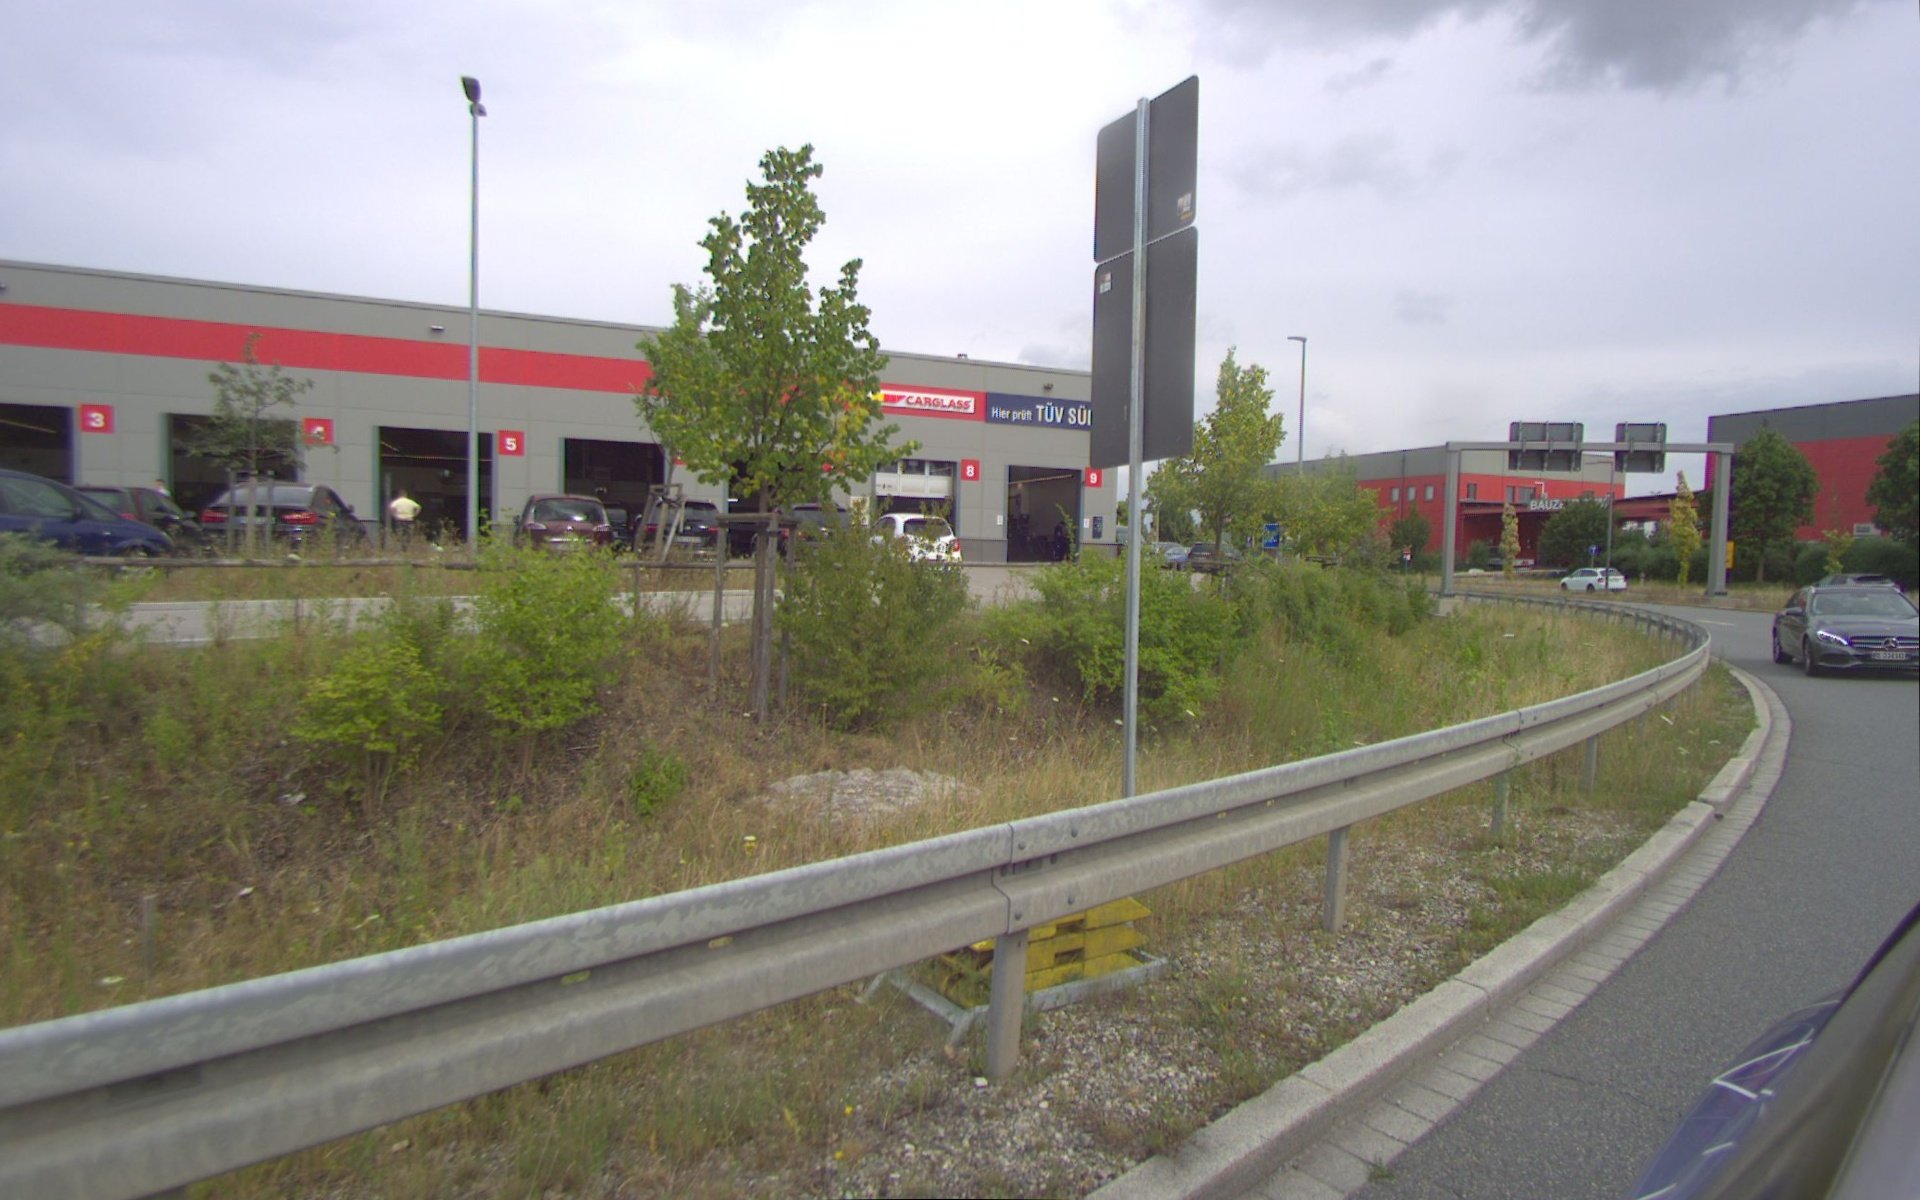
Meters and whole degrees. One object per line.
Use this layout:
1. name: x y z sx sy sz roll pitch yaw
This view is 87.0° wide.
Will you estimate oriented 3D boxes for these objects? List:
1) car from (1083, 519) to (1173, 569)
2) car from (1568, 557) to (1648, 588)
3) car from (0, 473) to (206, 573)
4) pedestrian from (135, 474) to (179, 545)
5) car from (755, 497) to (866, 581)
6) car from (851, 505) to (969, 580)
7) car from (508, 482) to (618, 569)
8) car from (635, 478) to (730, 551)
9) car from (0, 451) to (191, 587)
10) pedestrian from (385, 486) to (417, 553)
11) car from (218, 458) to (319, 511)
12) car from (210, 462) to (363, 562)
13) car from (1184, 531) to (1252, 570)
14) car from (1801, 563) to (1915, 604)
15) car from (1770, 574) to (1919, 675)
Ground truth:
1. car: 6.759 -2.281 41.124 1.669 1.833 3.980 3 2 -22
2. car: 36.374 -1.567 56.937 1.688 1.654 4.268 -1 2 0
3. car: -14.919 -1.356 17.875 1.685 1.552 3.906 -1 5 -23
4. pedestrian: -20.299 -2.283 25.591 0.581 1.763 0.637 0 1 1
5. car: -3.340 -1.350 22.083 1.695 1.654 3.456 0 4 -20
6. car: -1.229 -1.362 23.322 1.609 1.556 3.639 1 5 -21
7. car: -8.091 -1.411 20.420 1.642 1.557 3.891 0 1 -28
8. car: -5.852 -1.711 21.103 1.609 1.351 3.454 0 2 -20
9. car: -12.411 -1.057 13.016 1.647 1.657 3.744 3 4 19
10. pedestrian: -15.184 -2.180 27.490 0.663 1.763 0.629 0 1 -39
11. car: -21.273 -3.521 31.305 1.626 1.240 3.922 0 1 -20
12. car: -12.400 -1.624 18.887 1.685 1.648 3.906 -1 5 -23
13. car: 13.069 -2.516 51.083 1.795 1.804 4.114 0 4 38
14. car: 35.031 -0.663 39.602 1.441 1.504 4.082 1 1 12
15. car: 15.401 0.336 17.188 1.891 1.516 4.293 -1 0 30
